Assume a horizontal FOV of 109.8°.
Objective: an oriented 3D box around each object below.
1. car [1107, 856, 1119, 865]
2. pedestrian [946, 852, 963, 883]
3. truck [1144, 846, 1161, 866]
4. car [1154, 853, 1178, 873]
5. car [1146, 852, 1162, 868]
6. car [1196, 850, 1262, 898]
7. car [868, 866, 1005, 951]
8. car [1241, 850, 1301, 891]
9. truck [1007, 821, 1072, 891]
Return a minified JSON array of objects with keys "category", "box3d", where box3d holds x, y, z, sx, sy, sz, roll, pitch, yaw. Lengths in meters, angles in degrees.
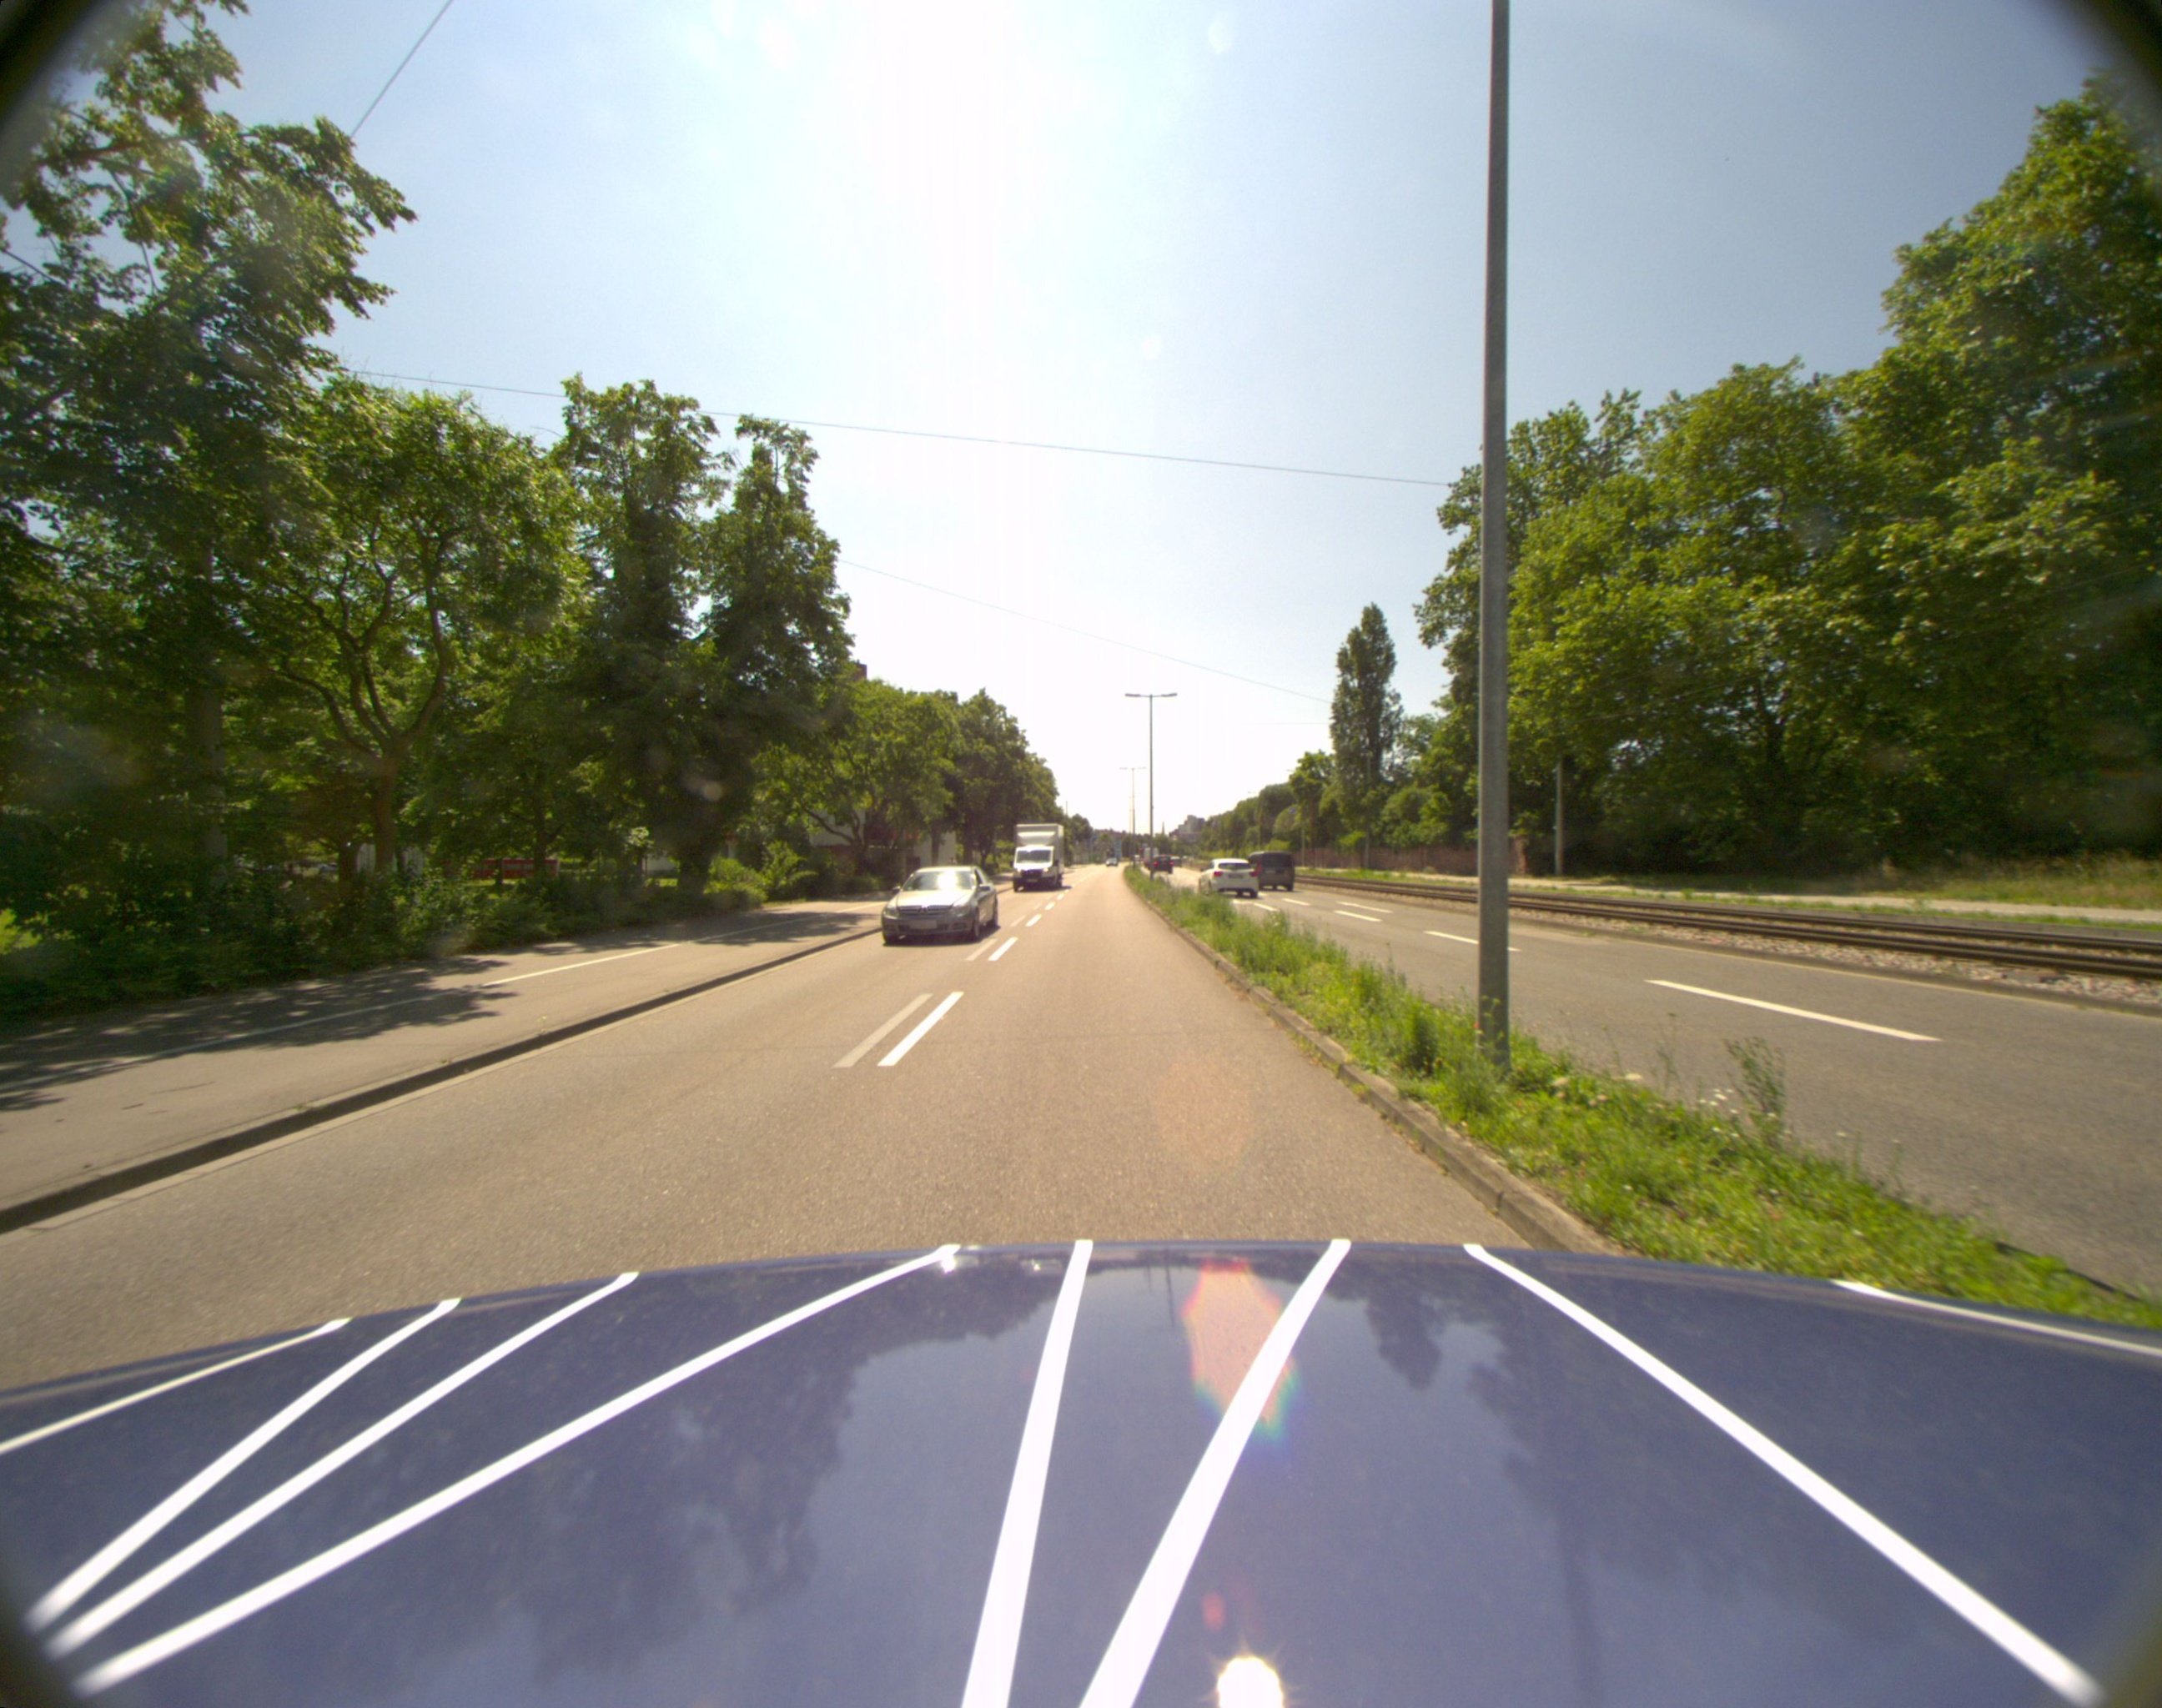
[{"category":"car","box3d":[5.547,1.065,131.364,1.829,1.556,4.000,-1,0,0]},{"category":"pedestrian","box3d":[-6.580,0.696,39.580,0.670,1.634,0.856,-1,1,2]},{"category":"truck","box3d":[9.979,0.317,106.740,2.086,2.732,5.548,1,0,3]},{"category":"car","box3d":[7.791,0.792,70.242,1.833,1.703,4.794,1,0,2]},{"category":"car","box3d":[8.650,0.684,89.615,1.833,1.746,4.490,1,0,5]},{"category":"car","box3d":[5.705,0.720,29.679,1.834,1.728,4.038,1,0,1]},{"category":"car","box3d":[-2.811,1.018,15.722,1.903,1.451,3.972,-2,0,2]},{"category":"car","box3d":[9.016,0.746,36.493,1.834,1.791,4.614,1,0,2]},{"category":"truck","box3d":[-1.989,0.070,39.833,2.293,3.259,8.314,-1,0,4]}]
